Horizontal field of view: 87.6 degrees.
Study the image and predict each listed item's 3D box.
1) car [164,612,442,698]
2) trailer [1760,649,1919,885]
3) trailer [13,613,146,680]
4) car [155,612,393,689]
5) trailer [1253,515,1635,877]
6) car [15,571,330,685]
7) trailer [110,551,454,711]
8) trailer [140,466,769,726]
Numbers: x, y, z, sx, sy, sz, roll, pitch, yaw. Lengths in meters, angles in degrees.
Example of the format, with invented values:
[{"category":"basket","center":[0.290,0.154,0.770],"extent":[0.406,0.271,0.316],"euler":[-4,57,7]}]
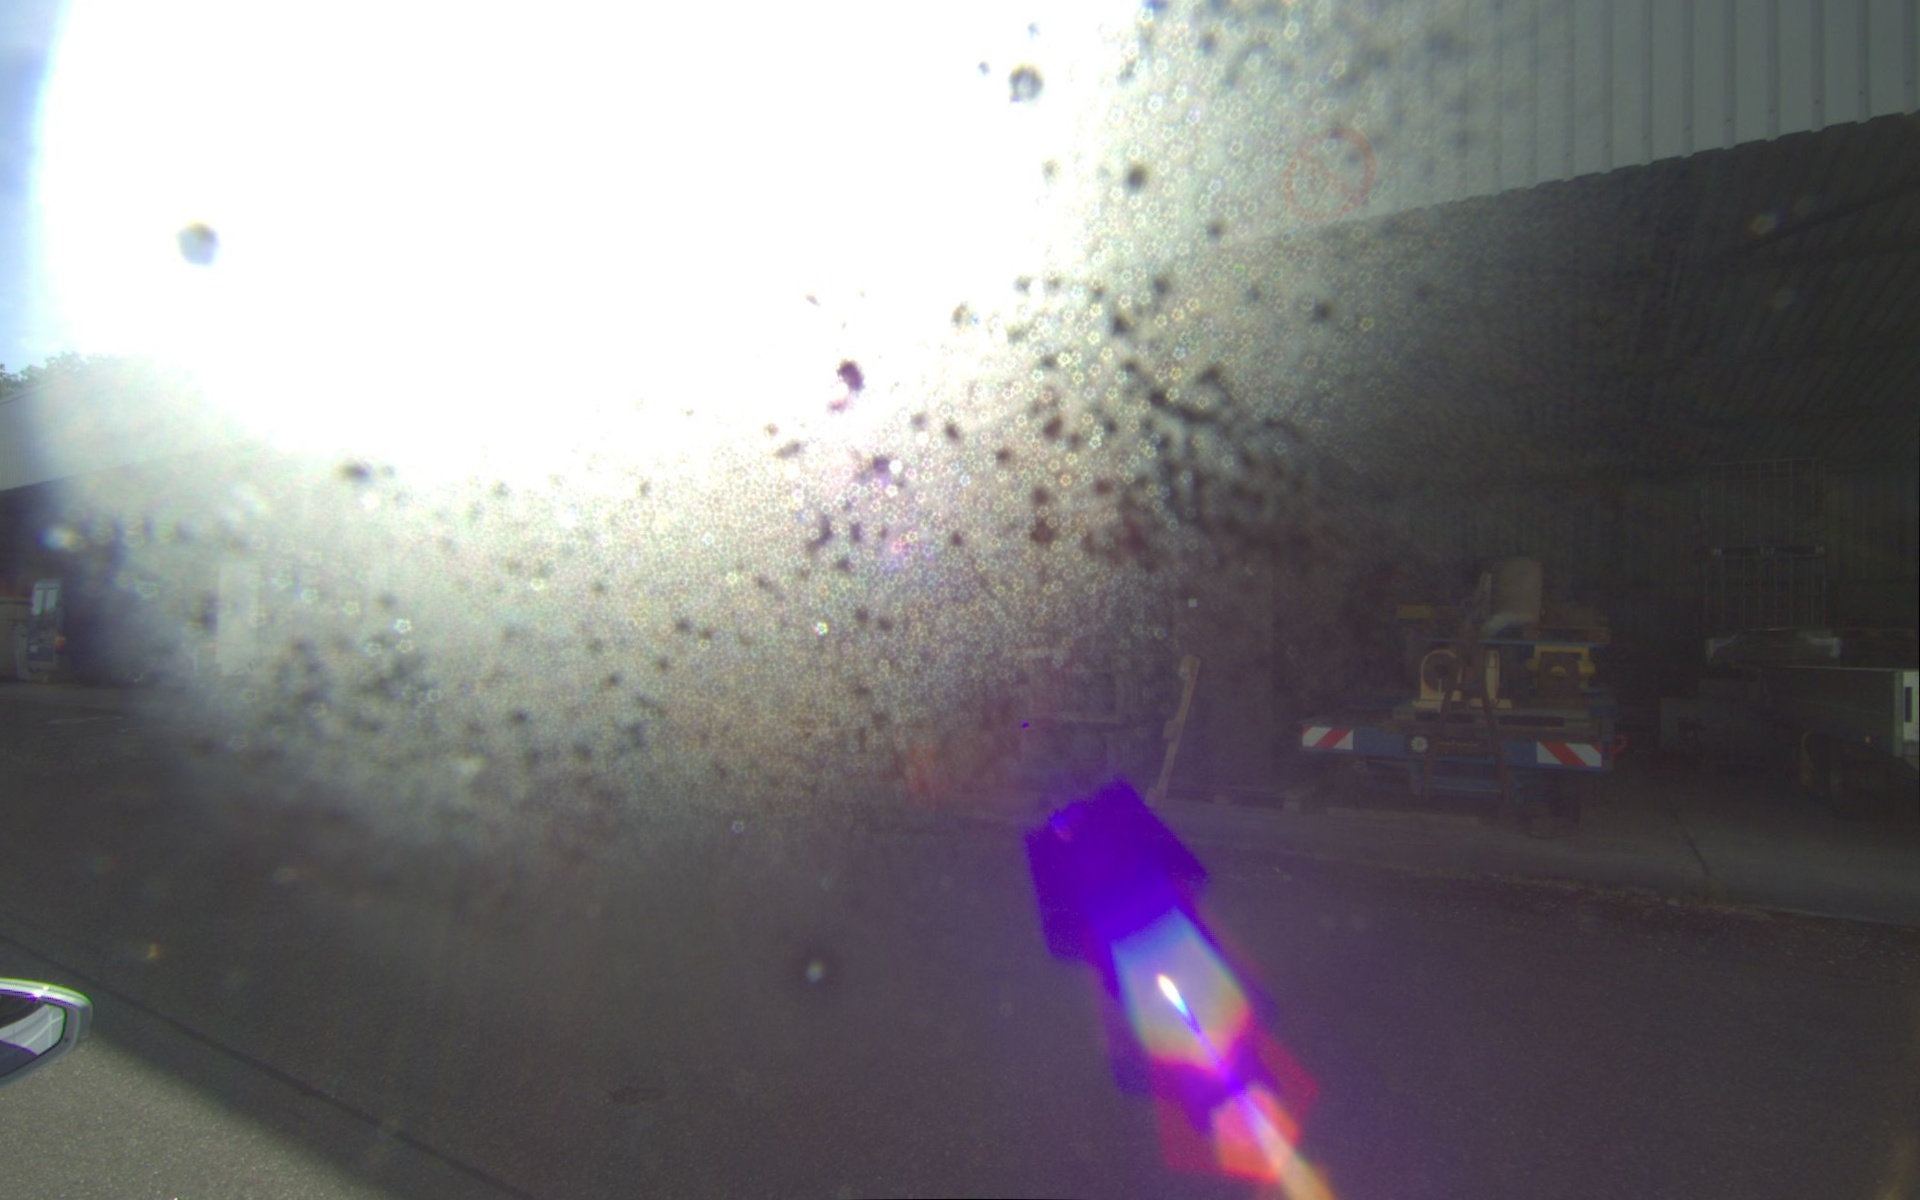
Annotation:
[{"category":"car","center":[-12.823,1.042,19.849],"extent":[1.841,1.490,4.246],"euler":[0,-2,29]},{"category":"trailer","center":[7.070,1.004,6.623],"extent":[1.945,1.200,5.721],"euler":[-1,-1,30]},{"category":"trailer","center":[-20.747,1.063,23.614],"extent":[1.715,1.485,2.032],"euler":[0,-1,36]},{"category":"car","center":[-14.995,1.076,22.123],"extent":[1.812,1.533,3.962],"euler":[-1,-2,29]},{"category":"trailer","center":[4.074,0.590,8.029],"extent":[2.133,2.016,4.413],"euler":[-1,-1,33]},{"category":"car","center":[-17.977,0.677,23.204],"extent":[2.121,2.310,5.326],"euler":[-1,-2,31]},{"category":"trailer","center":[-11.458,0.516,17.254],"extent":[2.018,2.372,4.507],"euler":[-1,-1,33]},{"category":"trailer","center":[-8.027,0.047,18.135],"extent":[2.761,3.386,10.250],"euler":[0,-1,32]}]
